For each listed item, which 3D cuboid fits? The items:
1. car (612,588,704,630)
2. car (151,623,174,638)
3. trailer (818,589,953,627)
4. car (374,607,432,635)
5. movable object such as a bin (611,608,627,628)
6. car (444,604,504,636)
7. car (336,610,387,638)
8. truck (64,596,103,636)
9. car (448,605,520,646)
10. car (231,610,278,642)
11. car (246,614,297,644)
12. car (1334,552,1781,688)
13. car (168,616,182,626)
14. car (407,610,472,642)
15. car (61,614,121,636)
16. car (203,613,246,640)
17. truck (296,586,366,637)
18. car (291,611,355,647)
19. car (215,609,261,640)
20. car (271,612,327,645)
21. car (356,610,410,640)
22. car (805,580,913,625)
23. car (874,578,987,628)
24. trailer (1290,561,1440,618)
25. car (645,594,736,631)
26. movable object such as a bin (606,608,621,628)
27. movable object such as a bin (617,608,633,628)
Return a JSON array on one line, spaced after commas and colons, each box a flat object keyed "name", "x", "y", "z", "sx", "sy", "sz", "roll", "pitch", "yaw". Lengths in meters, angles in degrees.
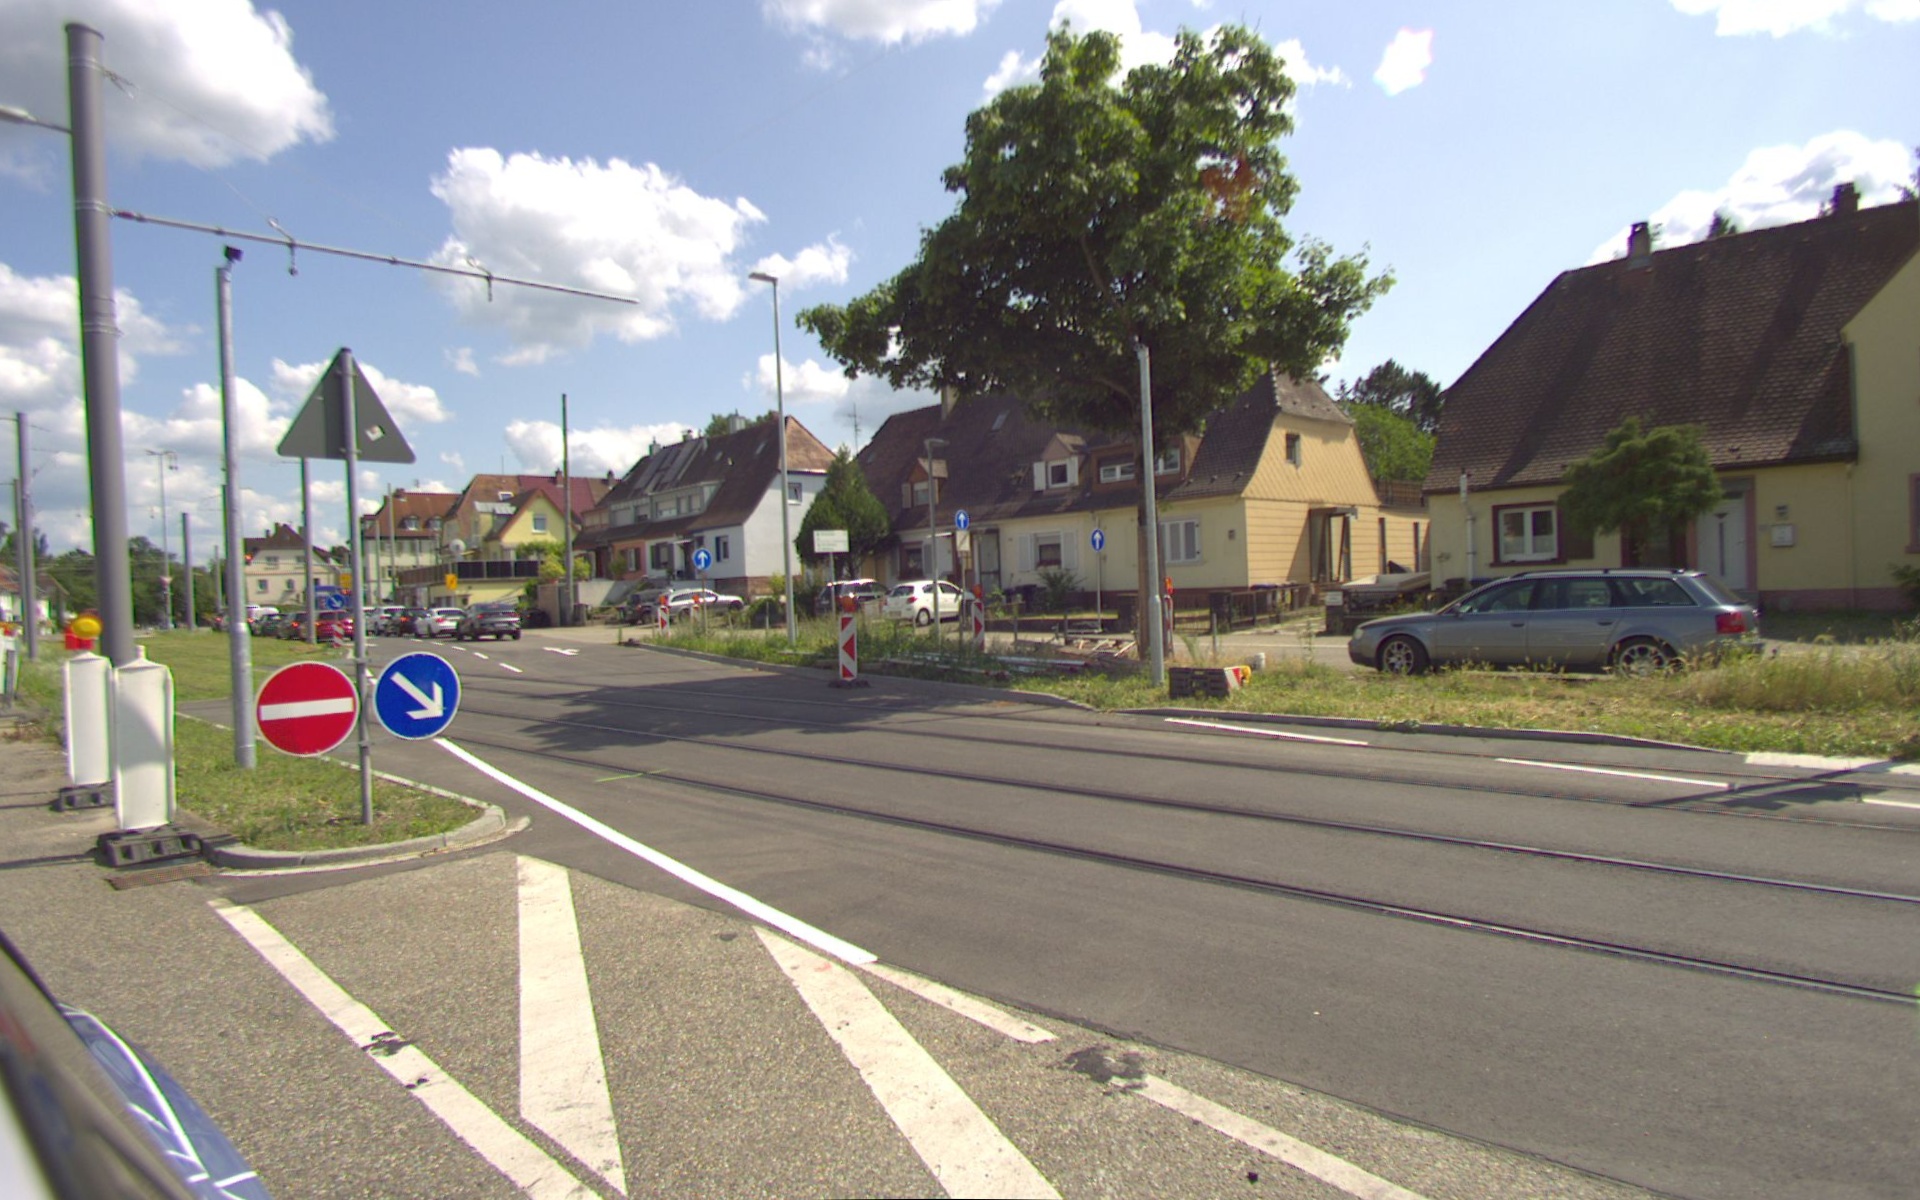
[{"name": "car", "x": -14.843, "y": 0.432, "z": 49.879, "sx": 1.802, "sy": 1.859, "sz": 3.943, "roll": -2, "pitch": 1, "yaw": 43}, {"name": "car", "x": -108.879, "y": 4.191, "z": 138.207, "sx": 2.249, "sy": 1.886, "sz": 4.997, "roll": -3, "pitch": 1, "yaw": -36}, {"name": "trailer", "x": -2.650, "y": 0.277, "z": 37.045, "sx": 1.960, "sy": 1.133, "sz": 4.868, "roll": -2, "pitch": 1, "yaw": 43}, {"name": "car", "x": -28.947, "y": 1.085, "z": 52.554, "sx": 1.704, "sy": 1.344, "sz": 4.549, "roll": -3, "pitch": 1, "yaw": -40}, {"name": "movable object such as a bin", "x": -17.153, "y": 0.889, "z": 50.887, "sx": 0.510, "sy": 0.959, "sz": 0.583, "roll": -3, "pitch": 1, "yaw": -45}, {"name": "car", "x": -26.792, "y": 1.102, "z": 55.710, "sx": 1.705, "sy": 1.574, "sz": 4.547, "roll": -3, "pitch": 1, "yaw": -42}, {"name": "car", "x": -37.061, "y": 1.485, "z": 62.619, "sx": 1.705, "sy": 1.574, "sz": 4.546, "roll": -3, "pitch": 1, "yaw": -43}, {"name": "truck", "x": -122.768, "y": 2.227, "z": 141.889, "sx": 3.424, "sy": 5.222, "sz": 14.245, "roll": -3, "pitch": 1, "yaw": -38}, {"name": "car", "x": -19.753, "y": 1.040, "z": 41.898, "sx": 1.703, "sy": 1.538, "sz": 4.780, "roll": -3, "pitch": 1, "yaw": -37}, {"name": "car", "x": -44.206, "y": 1.593, "z": 63.338, "sx": 1.705, "sy": 1.868, "sz": 4.546, "roll": -3, "pitch": 1, "yaw": -43}, {"name": "car", "x": -39.710, "y": 1.661, "z": 58.304, "sx": 1.705, "sy": 1.574, "sz": 4.546, "roll": -3, "pitch": 1, "yaw": -43}, {"name": "car", "x": 7.561, "y": 0.240, "z": 13.175, "sx": 4.754, "sy": 1.475, "sz": 1.674, "roll": -2, "pitch": 1, "yaw": 43}, {"name": "car", "x": -140.198, "y": 3.766, "z": 180.722, "sx": 1.696, "sy": 1.603, "sz": 4.178, "roll": -3, "pitch": 1, "yaw": -41}, {"name": "car", "x": -24.300, "y": 1.217, "z": 47.174, "sx": 1.704, "sy": 1.344, "sz": 4.549, "roll": -3, "pitch": 1, "yaw": -40}, {"name": "car", "x": -85.413, "y": 2.453, "z": 99.487, "sx": 4.946, "sy": 1.886, "sz": 2.272, "roll": -2, "pitch": 1, "yaw": 19}, {"name": "car", "x": -53.505, "y": 1.910, "z": 73.573, "sx": 1.895, "sy": 1.794, "sz": 4.546, "roll": -3, "pitch": 1, "yaw": -43}, {"name": "truck", "x": -42.921, "y": 0.801, "z": 68.889, "sx": 2.801, "sy": 3.177, "sz": 7.946, "roll": -3, "pitch": 1, "yaw": -40}, {"name": "car", "x": -30.039, "y": 1.349, "z": 47.671, "sx": 1.705, "sy": 1.574, "sz": 4.547, "roll": -3, "pitch": 1, "yaw": -42}, {"name": "car", "x": -49.260, "y": 1.662, "z": 68.995, "sx": 1.895, "sy": 1.979, "sz": 4.546, "roll": -3, "pitch": 1, "yaw": -43}, {"name": "car", "x": -34.689, "y": 1.475, "z": 53.061, "sx": 1.705, "sy": 1.574, "sz": 4.649, "roll": -3, "pitch": 1, "yaw": -42}, {"name": "car", "x": -32.903, "y": 1.396, "z": 57.653, "sx": 1.705, "sy": 1.574, "sz": 4.547, "roll": -3, "pitch": 1, "yaw": -42}, {"name": "car", "x": -3.846, "y": 0.077, "z": 38.929, "sx": 3.837, "sy": 1.556, "sz": 1.708, "roll": -3, "pitch": 1, "yaw": -43}, {"name": "car", "x": -0.972, "y": 0.088, "z": 35.025, "sx": 1.759, "sy": 1.556, "sz": 3.912, "roll": -2, "pitch": 1, "yaw": 39}, {"name": "trailer", "x": 11.540, "y": -0.324, "z": 28.618, "sx": 5.195, "sy": 1.404, "sz": 2.025, "roll": -3, "pitch": 1, "yaw": -45}, {"name": "car", "x": -12.698, "y": 0.580, "z": 47.844, "sx": 1.682, "sy": 1.566, "sz": 3.836, "roll": -2, "pitch": 1, "yaw": 43}, {"name": "movable object such as a bin", "x": -17.560, "y": 0.904, "z": 51.305, "sx": 0.510, "sy": 0.959, "sz": 0.583, "roll": -3, "pitch": 1, "yaw": -45}, {"name": "movable object such as a bin", "x": -16.703, "y": 0.879, "z": 50.422, "sx": 0.510, "sy": 0.959, "sz": 0.610, "roll": -3, "pitch": 1, "yaw": -45}]
